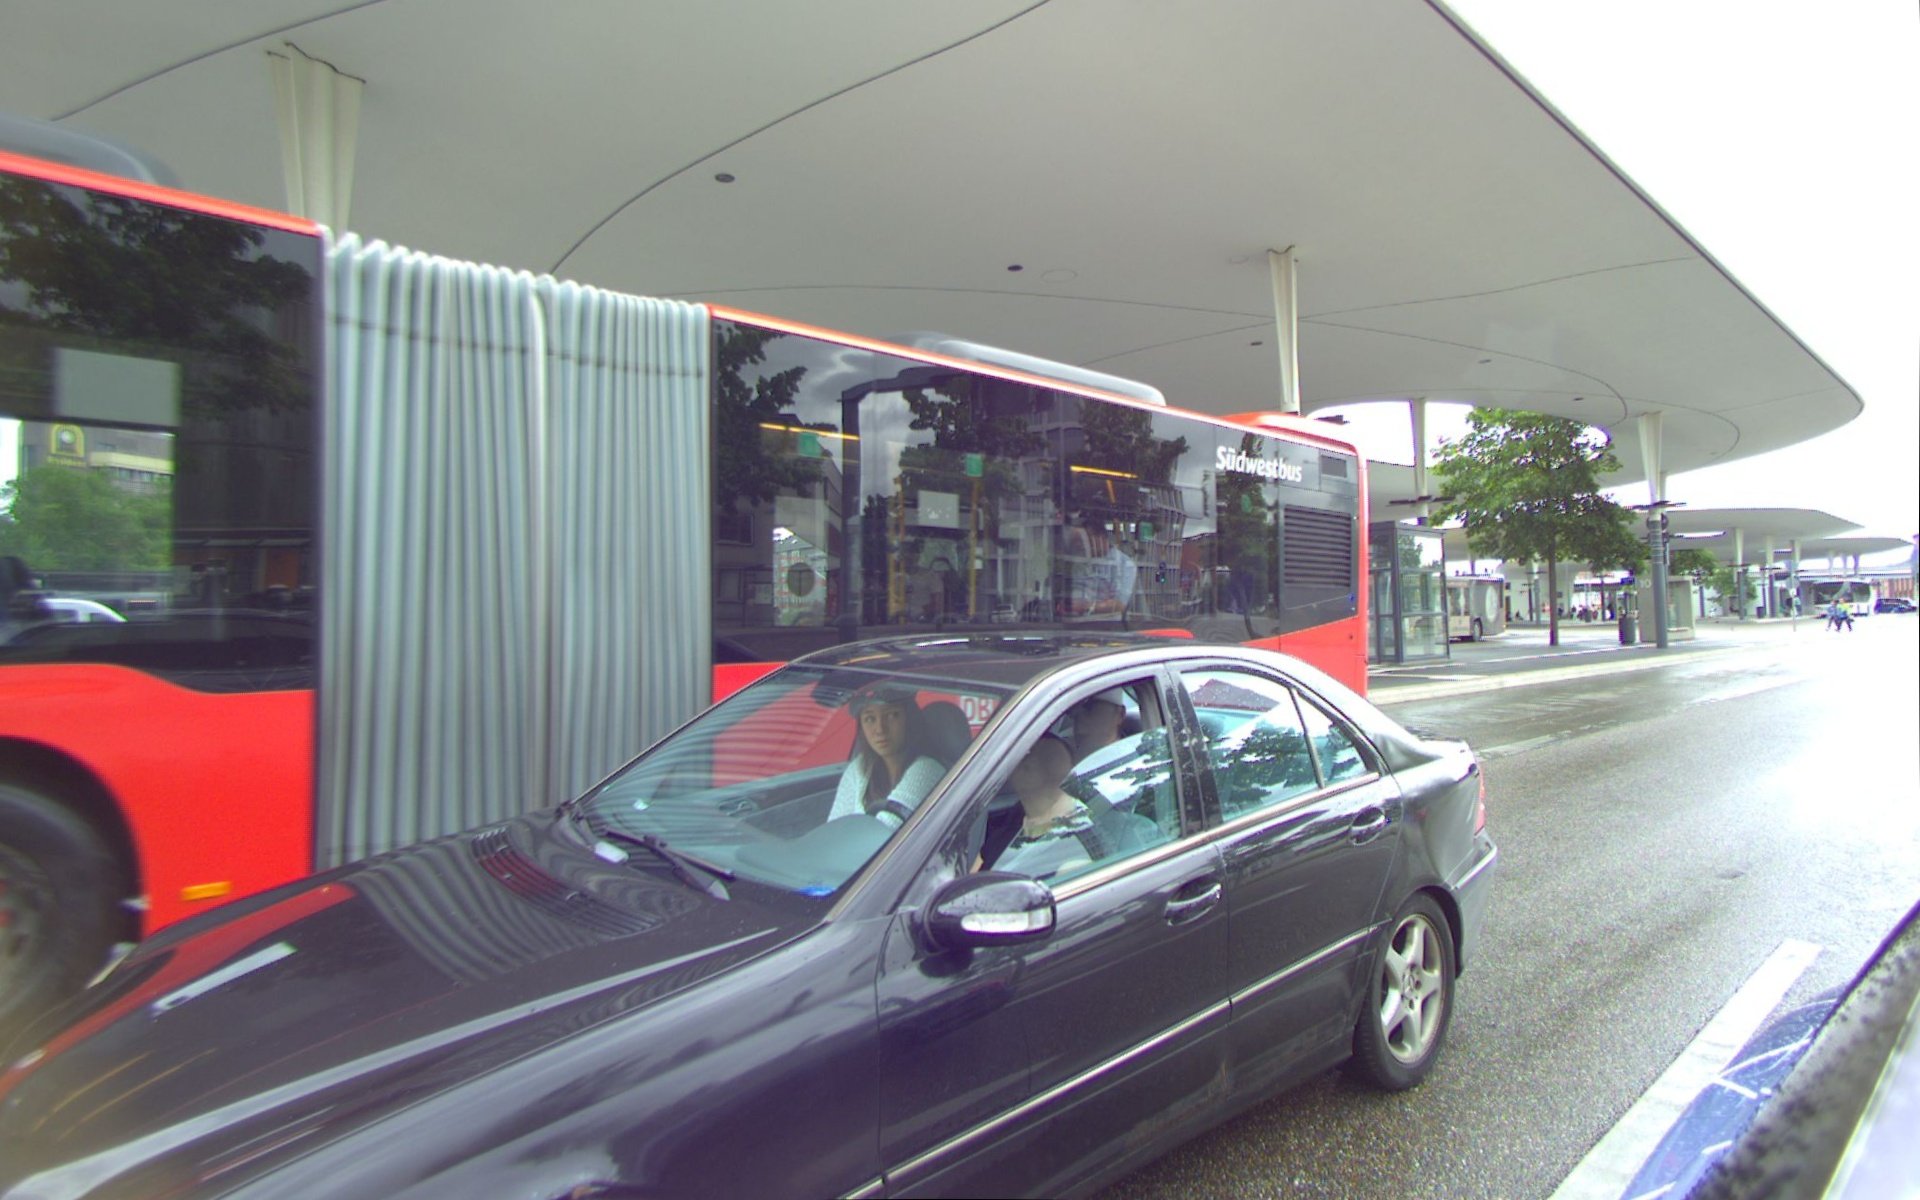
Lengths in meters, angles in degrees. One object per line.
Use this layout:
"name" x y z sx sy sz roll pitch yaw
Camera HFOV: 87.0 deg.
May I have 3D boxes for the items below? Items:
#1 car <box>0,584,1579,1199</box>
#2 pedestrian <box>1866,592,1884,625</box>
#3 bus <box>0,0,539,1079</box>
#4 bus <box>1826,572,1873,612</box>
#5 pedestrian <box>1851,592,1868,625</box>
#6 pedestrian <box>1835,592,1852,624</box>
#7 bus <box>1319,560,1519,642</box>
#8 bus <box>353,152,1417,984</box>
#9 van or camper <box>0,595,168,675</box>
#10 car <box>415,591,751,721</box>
"car" 0.036 0.803 3.002 4.358 1.499 1.747 -2 -3 -41
"pedestrian" 45.446 0.412 50.254 0.543 1.645 0.556 0 -1 -41
"bus" -6.284 -0.193 1.677 10.019 3.214 2.746 0 0 -42
"bus" 75.368 -0.665 85.699 2.666 3.169 9.565 -1 -1 43
"pedestrian" 45.229 0.410 50.869 0.543 1.645 0.556 0 -1 -41
"pedestrian" 44.900 0.411 51.437 0.577 1.645 0.576 0 -1 -41
"bus" 20.074 0.019 43.688 12.137 3.146 3.001 0 -1 -41
"bus" 0.285 -0.140 7.611 7.980 3.214 2.747 0 0 -42
"van or camper" -29.783 1.106 33.216 5.868 2.495 2.106 0 -1 -41
"car" -5.517 0.752 15.124 4.356 1.671 1.803 0 -3 -41
